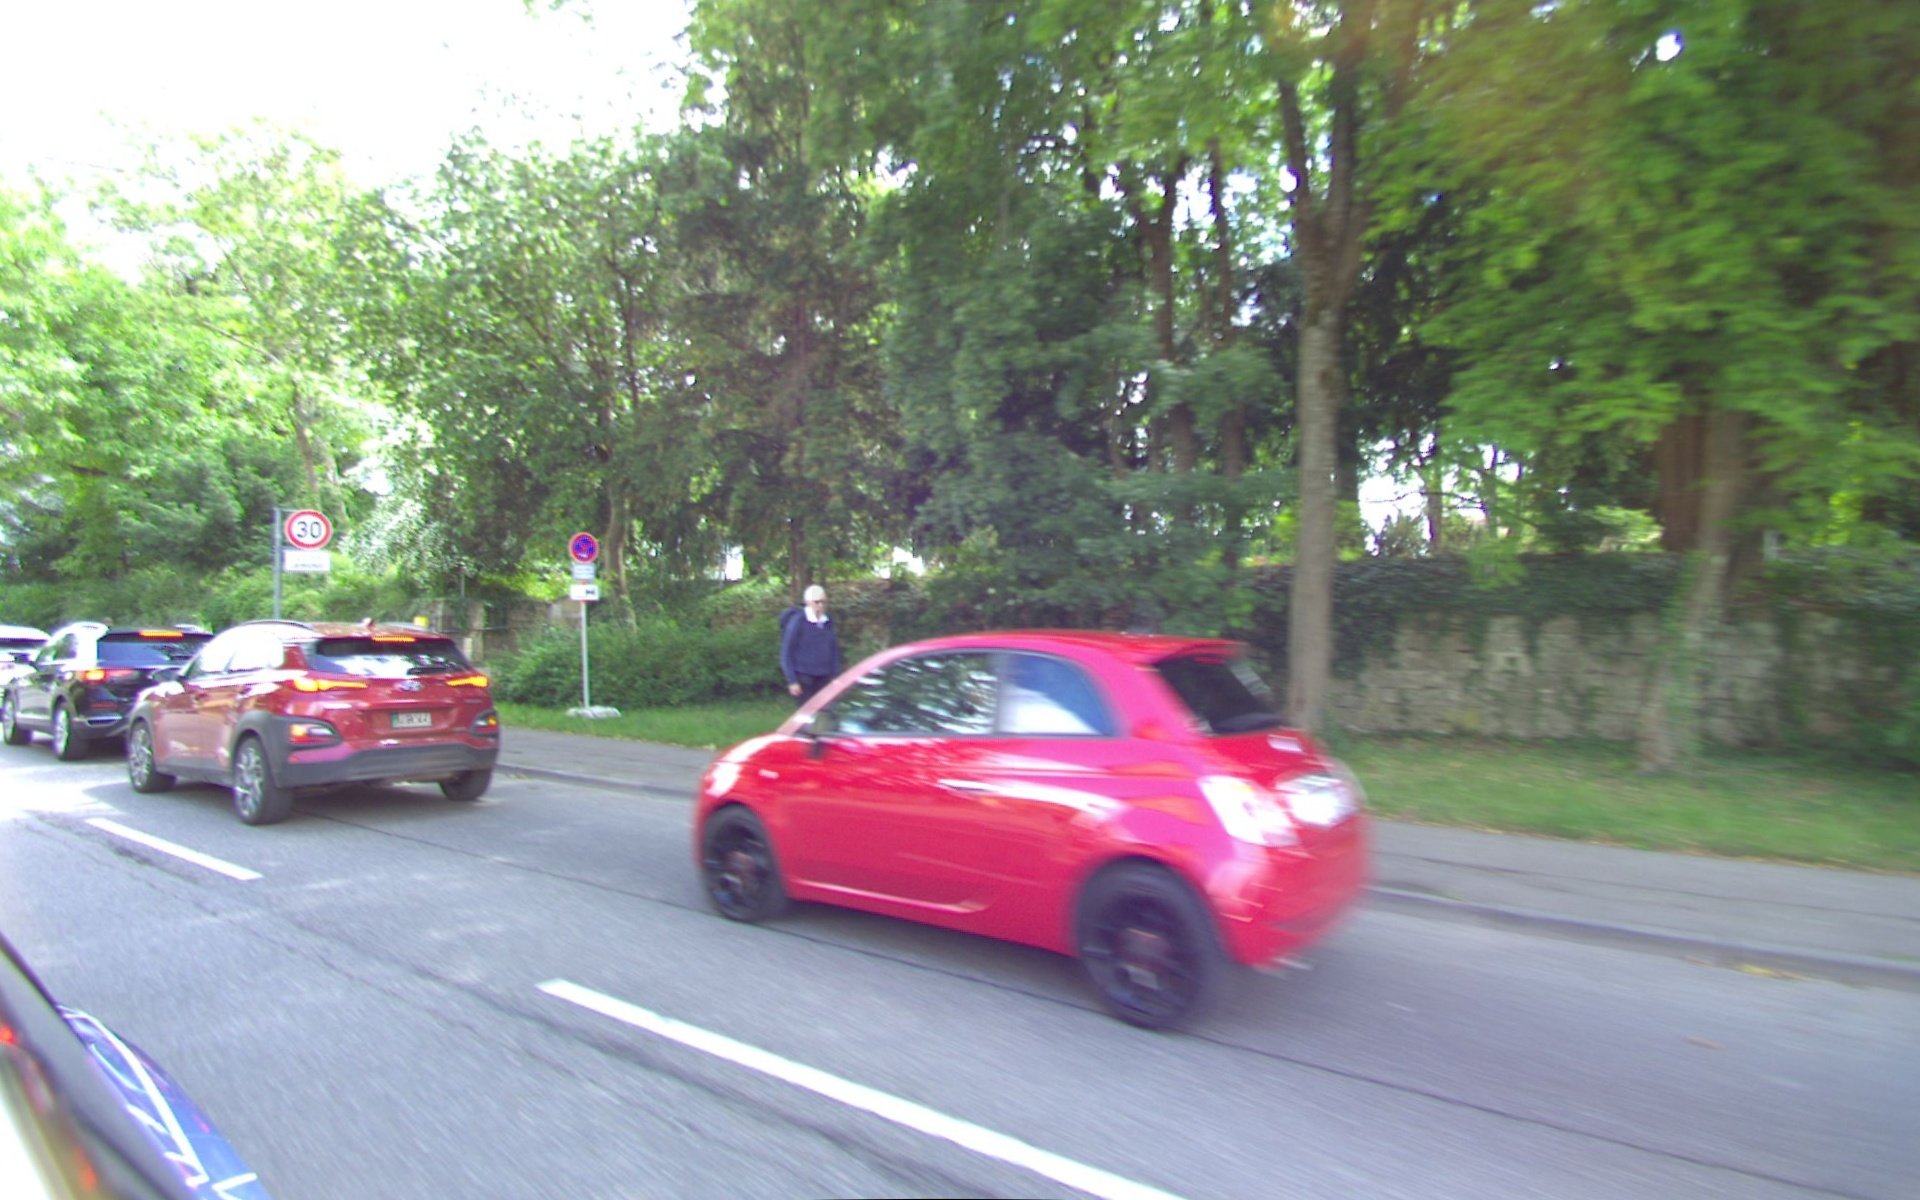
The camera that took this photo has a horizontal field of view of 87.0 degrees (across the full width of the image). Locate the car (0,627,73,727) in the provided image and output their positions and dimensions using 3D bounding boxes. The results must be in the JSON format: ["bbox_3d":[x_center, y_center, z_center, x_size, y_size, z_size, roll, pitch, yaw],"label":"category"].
[{"bbox_3d":[-16.990,1.244,17.334,3.995,1.603,1.741,-1,-4,35],"label":"car"}]

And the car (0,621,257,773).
[{"bbox_3d":[-10.633,1.087,12.665,3.961,1.603,1.741,-1,-2,35],"label":"car"}]

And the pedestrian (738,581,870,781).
[{"bbox_3d":[-1.547,0.756,10.053,1.020,1.861,0.825,-1,-1,39],"label":"pedestrian"}]

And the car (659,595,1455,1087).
[{"bbox_3d":[0.287,0.831,4.934,3.565,1.535,1.599,-2,-4,38],"label":"car"}]

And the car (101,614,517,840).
[{"bbox_3d":[-5.857,0.958,8.958,3.994,1.568,1.760,-1,-4,37],"label":"car"}]
